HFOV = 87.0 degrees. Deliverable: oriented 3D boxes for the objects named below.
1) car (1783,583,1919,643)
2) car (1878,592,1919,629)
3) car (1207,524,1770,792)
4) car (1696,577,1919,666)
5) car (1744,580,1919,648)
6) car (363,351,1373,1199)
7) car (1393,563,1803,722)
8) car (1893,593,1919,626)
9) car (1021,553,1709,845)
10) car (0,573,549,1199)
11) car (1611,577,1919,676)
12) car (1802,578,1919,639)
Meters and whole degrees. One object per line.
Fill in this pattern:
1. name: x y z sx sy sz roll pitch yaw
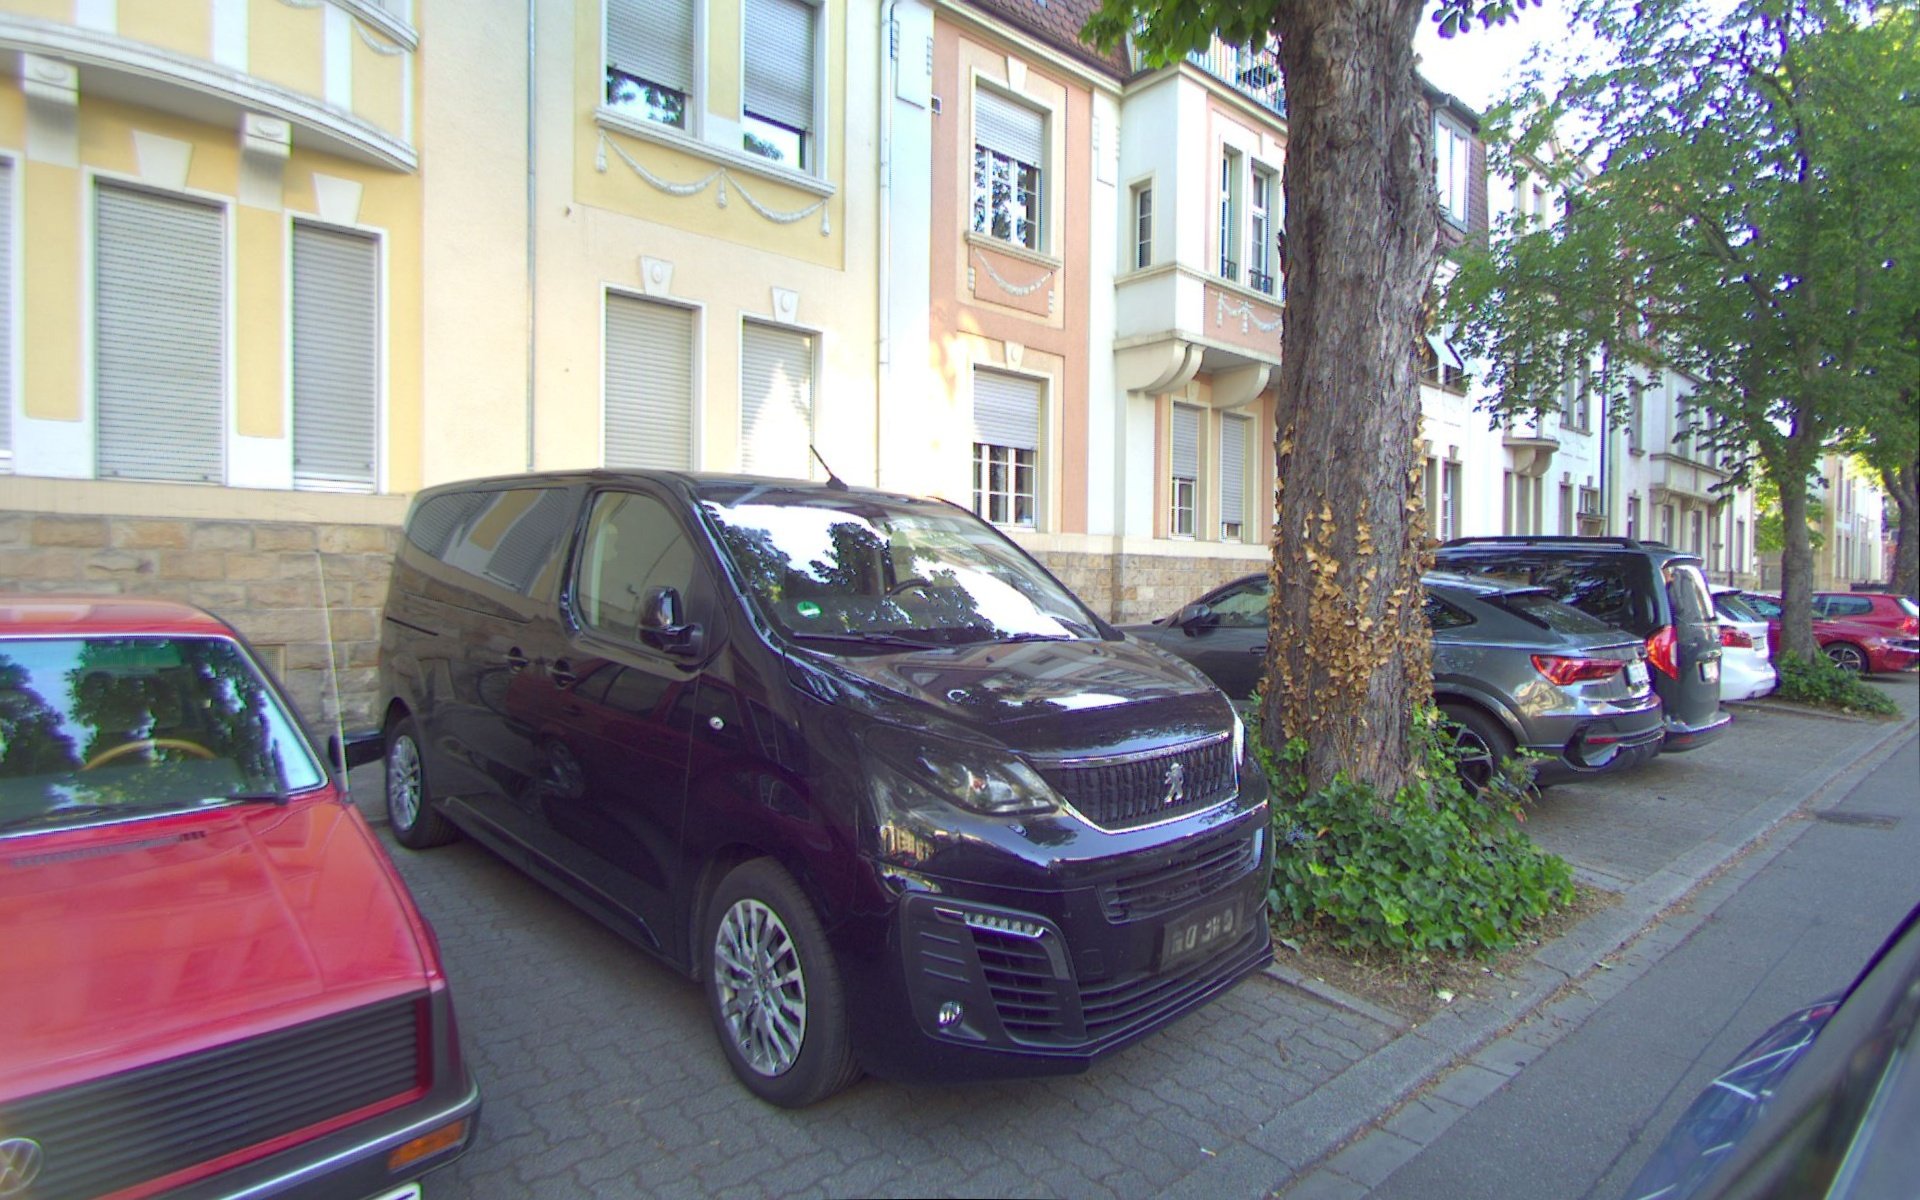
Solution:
1. car: 24.005 0.321 26.412 1.548 1.416 3.681 0 3 -39
2. car: 31.896 0.381 32.468 1.515 1.164 3.399 0 3 -39
3. car: 4.520 0.309 9.145 1.814 1.860 4.116 0 3 -42
4. car: 16.896 0.354 19.818 1.628 1.499 3.682 0 2 -38
5. car: 21.853 0.299 24.974 1.548 1.484 3.681 0 3 -39
6. car: -0.938 0.326 4.474 1.867 1.897 4.753 -1 3 -44
7. car: 7.704 0.377 12.525 1.689 1.597 3.948 0 3 -41
8. car: 34.276 0.380 34.531 1.515 1.076 3.399 0 3 -39
9. car: 2.745 0.447 7.701 1.815 1.542 4.513 -1 3 -44
10. car: -2.873 0.629 3.034 1.603 1.332 4.139 -1 3 -44
11. car: 14.787 0.384 18.463 1.833 1.470 4.533 0 3 -38
12. car: 25.871 0.233 28.033 1.548 1.576 3.681 0 3 -39
